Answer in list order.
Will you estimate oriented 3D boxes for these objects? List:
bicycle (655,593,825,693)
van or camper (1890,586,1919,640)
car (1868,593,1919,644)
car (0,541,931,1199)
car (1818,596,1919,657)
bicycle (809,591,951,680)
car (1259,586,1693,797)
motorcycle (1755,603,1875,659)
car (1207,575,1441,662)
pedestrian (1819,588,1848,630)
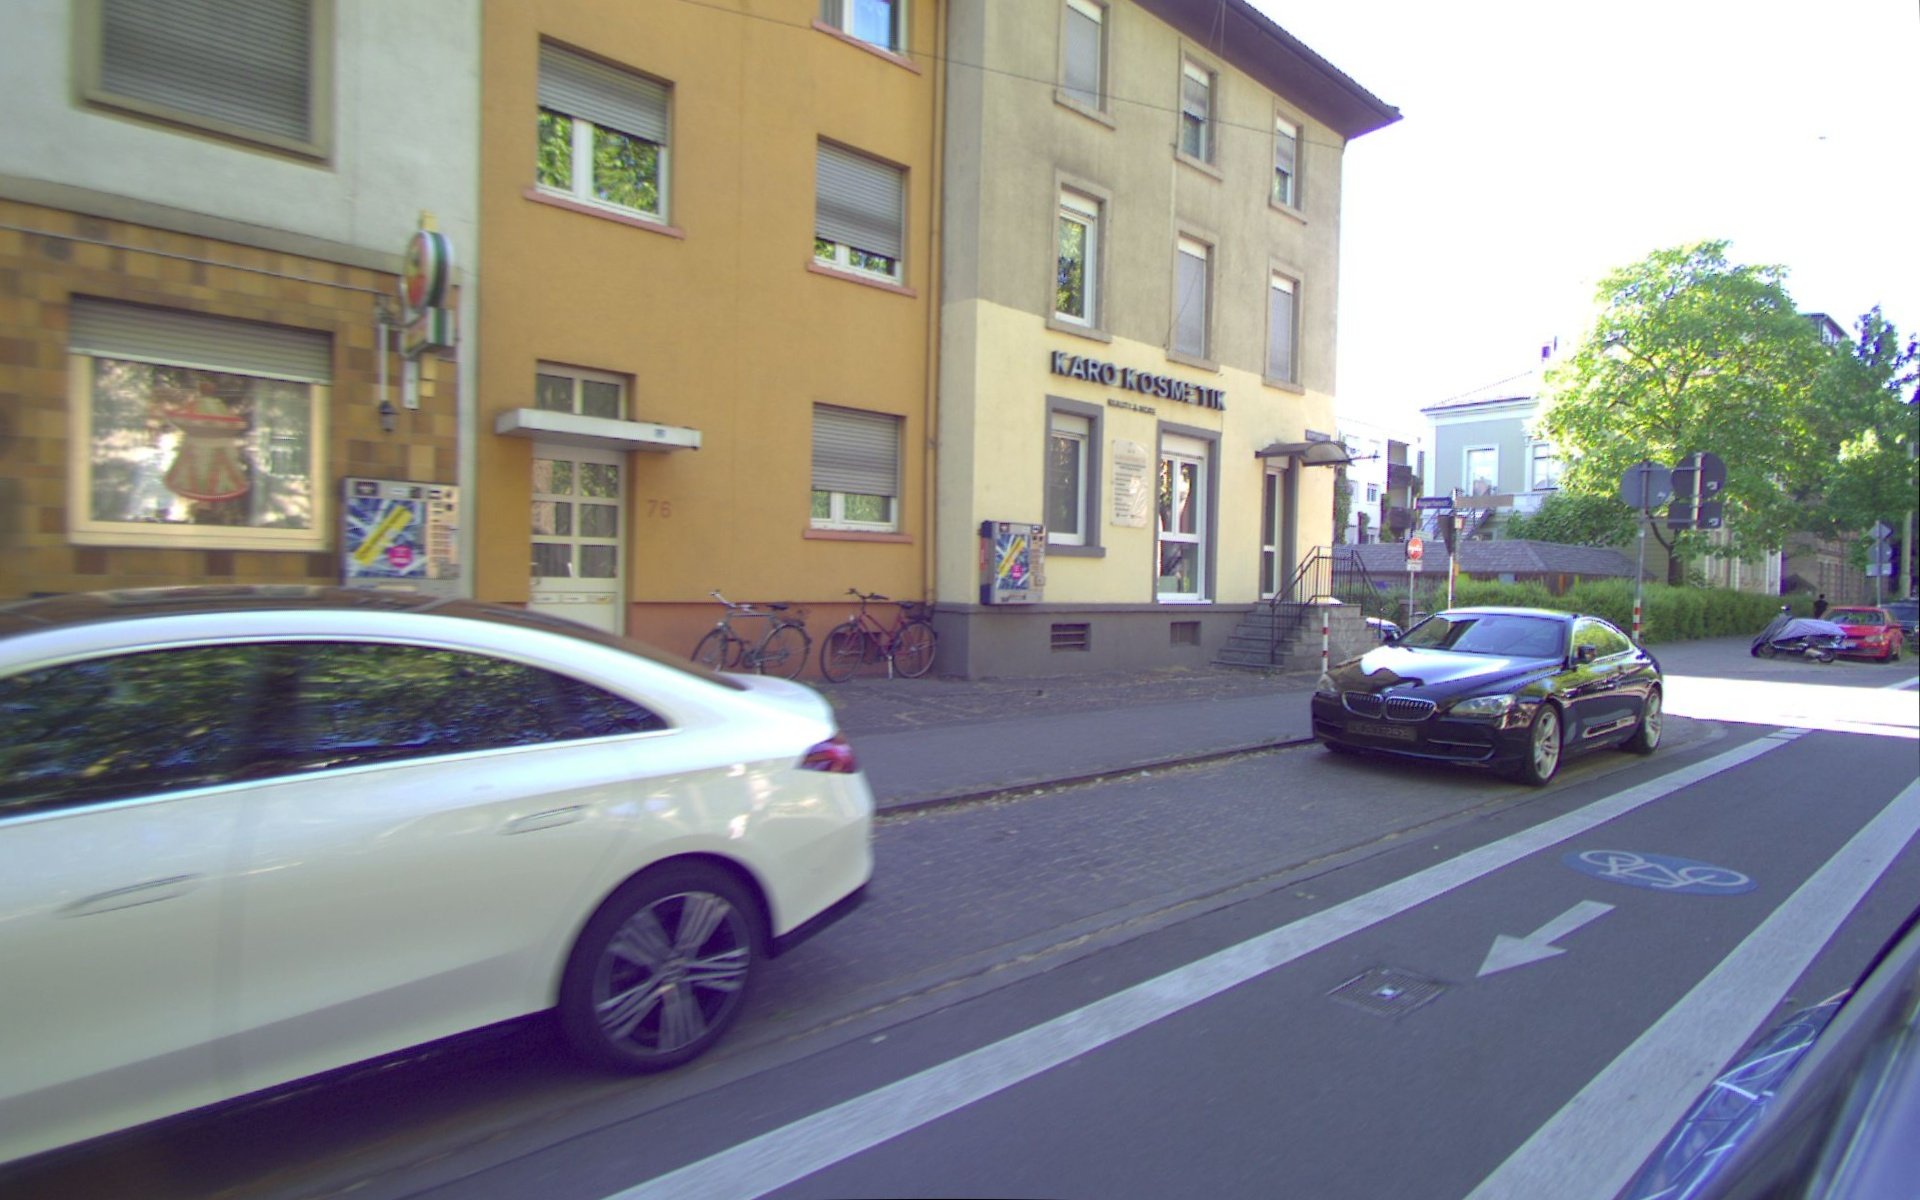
[{"bbox_3d":[-2.365,0.437,11.042,1.826,1.010,0.427,0,1,-41],"label":"bicycle"},{"bbox_3d":[34.689,0.468,36.099,4.365,1.804,1.693,0,3,-41],"label":"van or camper"},{"bbox_3d":[30.867,0.566,32.713,4.071,1.505,1.694,0,3,-41],"label":"car"},{"bbox_3d":[-2.537,0.612,2.988,4.656,1.511,1.998,0,3,-40],"label":"car"},{"bbox_3d":[24.244,0.650,26.897,3.797,1.397,1.607,0,3,-41],"label":"car"},{"bbox_3d":[-0.945,0.402,12.305,1.826,1.010,0.427,0,1,-41],"label":"bicycle"},{"bbox_3d":[5.001,0.641,9.495,4.657,1.397,1.998,0,3,-41],"label":"car"},{"bbox_3d":[21.113,0.749,25.035,0.812,1.172,2.074,0,4,-36],"label":"motorcycle"},{"bbox_3d":[7.728,0.350,21.887,1.866,1.660,4.462,3,-1,-36],"label":"car"},{"bbox_3d":[36.664,0.367,42.470,0.869,1.699,0.813,0,0,-41],"label":"pedestrian"}]
